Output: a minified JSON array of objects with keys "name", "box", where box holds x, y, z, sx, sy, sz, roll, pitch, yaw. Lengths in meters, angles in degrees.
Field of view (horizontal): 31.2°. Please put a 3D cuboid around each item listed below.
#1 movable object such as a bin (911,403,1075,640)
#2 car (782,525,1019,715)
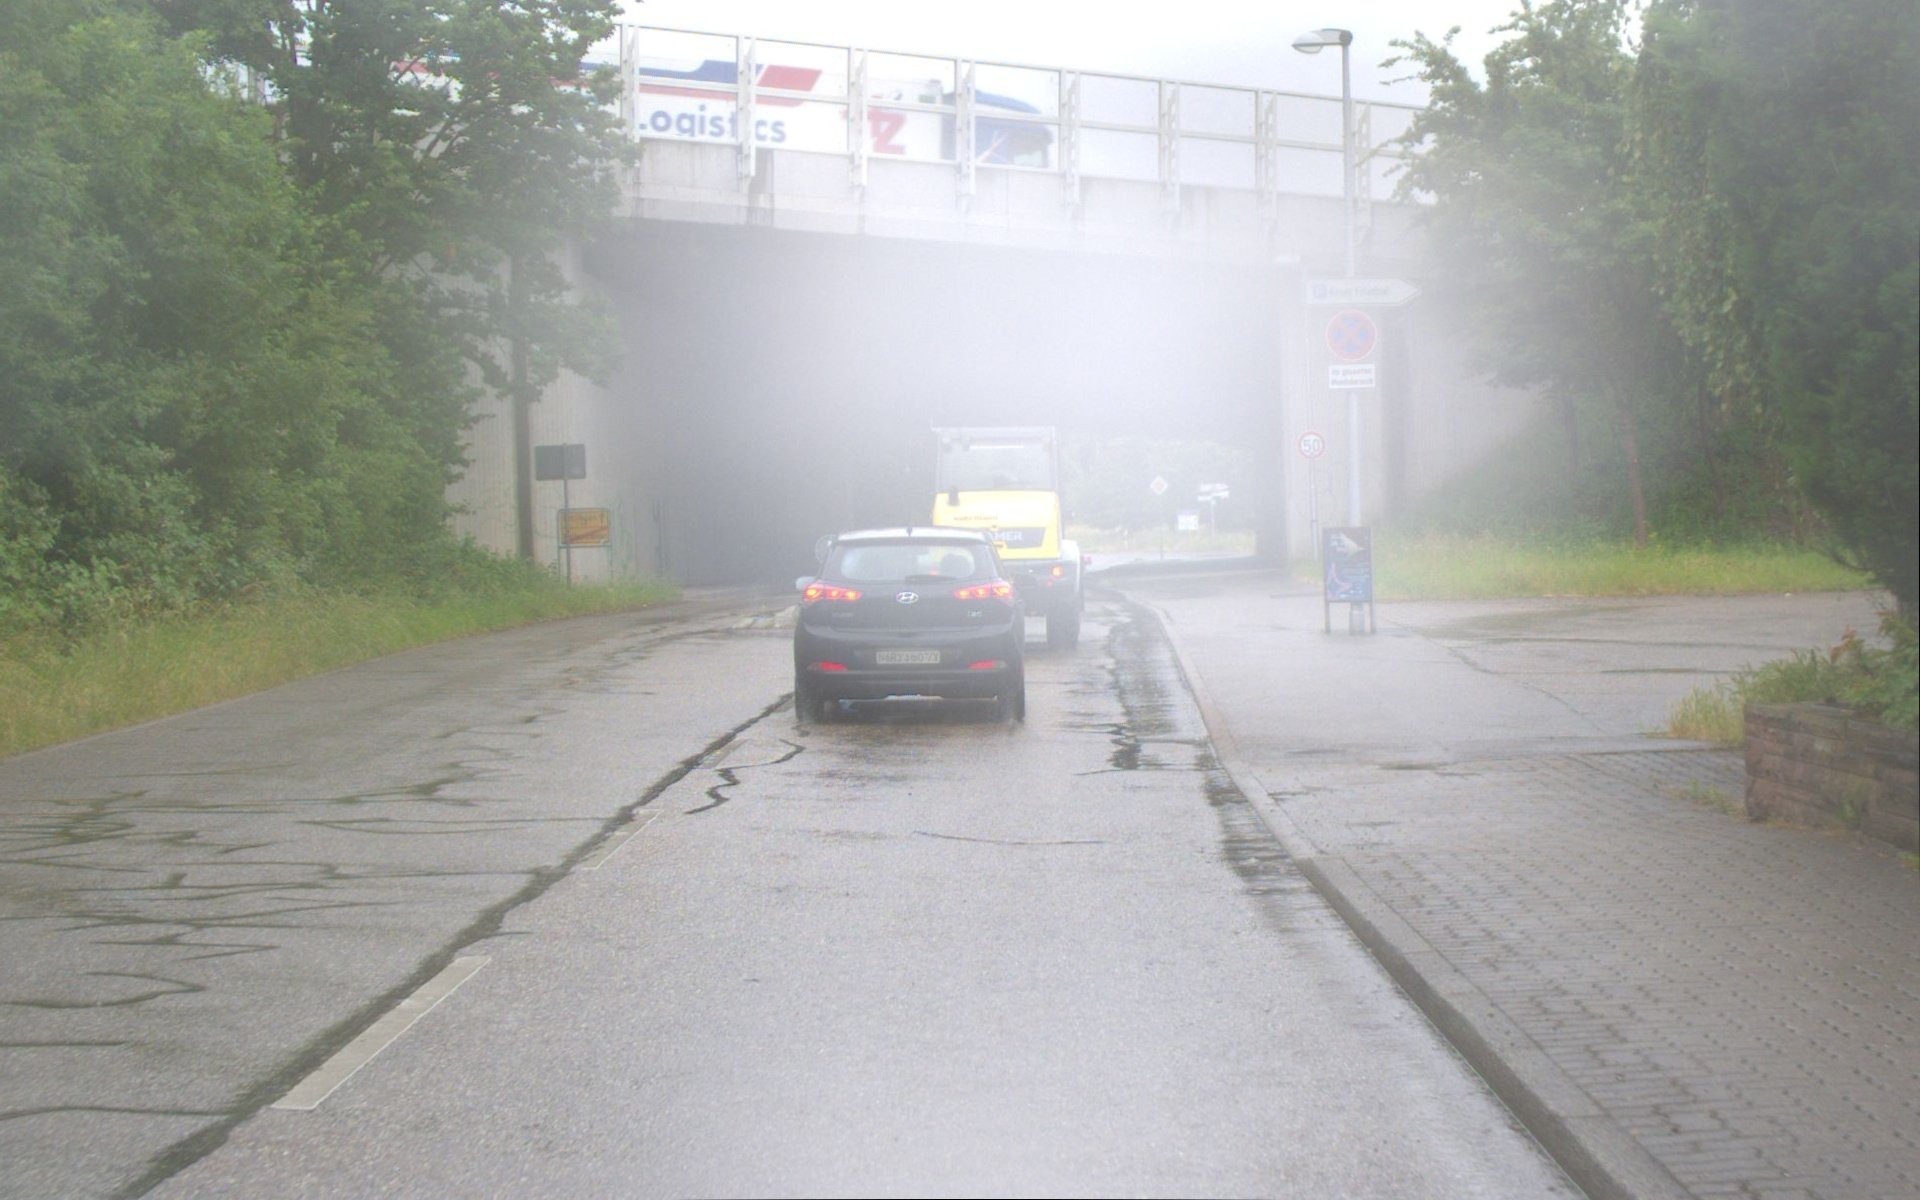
[{"name":"movable object such as a bin","box":[0.368,-0.890,39.027,1.761,2.539,4.239,0,1,0]},{"name":"car","box":[-0.414,0.105,26.878,1.708,1.373,4.000,0,1,1]}]
